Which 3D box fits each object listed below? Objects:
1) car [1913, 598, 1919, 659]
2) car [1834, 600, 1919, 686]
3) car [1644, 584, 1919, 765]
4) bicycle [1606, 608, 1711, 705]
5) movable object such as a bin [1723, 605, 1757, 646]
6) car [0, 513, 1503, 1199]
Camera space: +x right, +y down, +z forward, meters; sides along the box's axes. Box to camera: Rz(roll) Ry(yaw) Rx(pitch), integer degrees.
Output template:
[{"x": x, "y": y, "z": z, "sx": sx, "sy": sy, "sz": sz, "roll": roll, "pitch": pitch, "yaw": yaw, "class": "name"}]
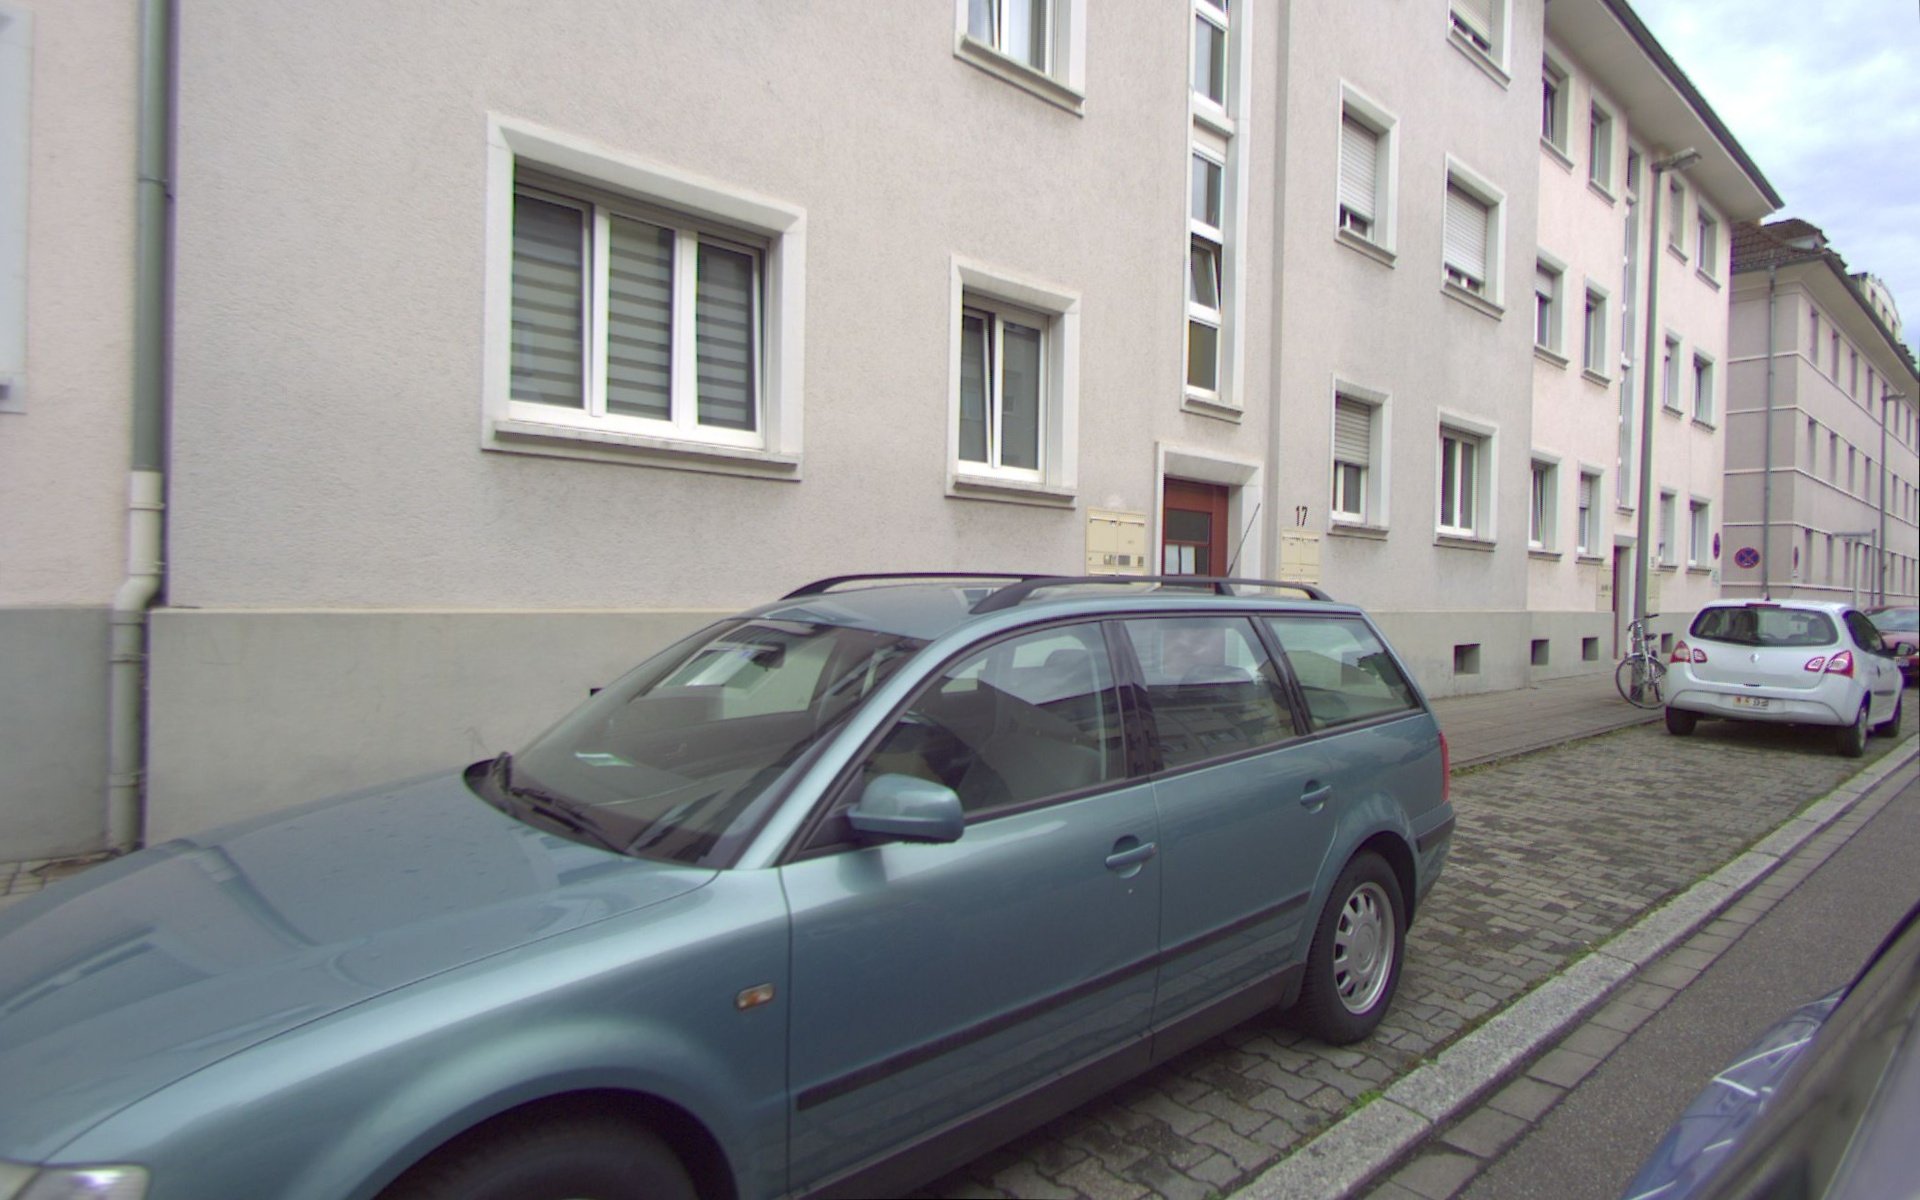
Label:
[{"x": 25.311, "y": 0.740, "z": 25.256, "sx": 3.969, "sy": 1.482, "sz": 1.791, "roll": 1, "pitch": 1, "yaw": -41, "class": "car"}, {"x": 17.697, "y": 0.767, "z": 18.726, "sx": 3.867, "sy": 1.426, "sz": 1.757, "roll": 1, "pitch": 1, "yaw": -41, "class": "car"}, {"x": 9.225, "y": 0.688, "z": 11.170, "sx": 3.736, "sy": 1.619, "sz": 1.788, "roll": 1, "pitch": 1, "yaw": -40, "class": "car"}, {"x": 9.164, "y": 0.699, "z": 13.246, "sx": 2.088, "sy": 1.154, "sz": 0.606, "roll": 1, "pitch": 1, "yaw": -41, "class": "bicycle"}, {"x": 20.886, "y": 0.677, "z": 27.091, "sx": 0.692, "sy": 1.055, "sz": 0.550, "roll": 1, "pitch": 1, "yaw": -38, "class": "movable object such as a bin"}, {"x": -0.127, "y": 0.630, "z": 3.051, "sx": 4.190, "sy": 1.487, "sz": 1.728, "roll": 0, "pitch": 1, "yaw": -41, "class": "car"}]
